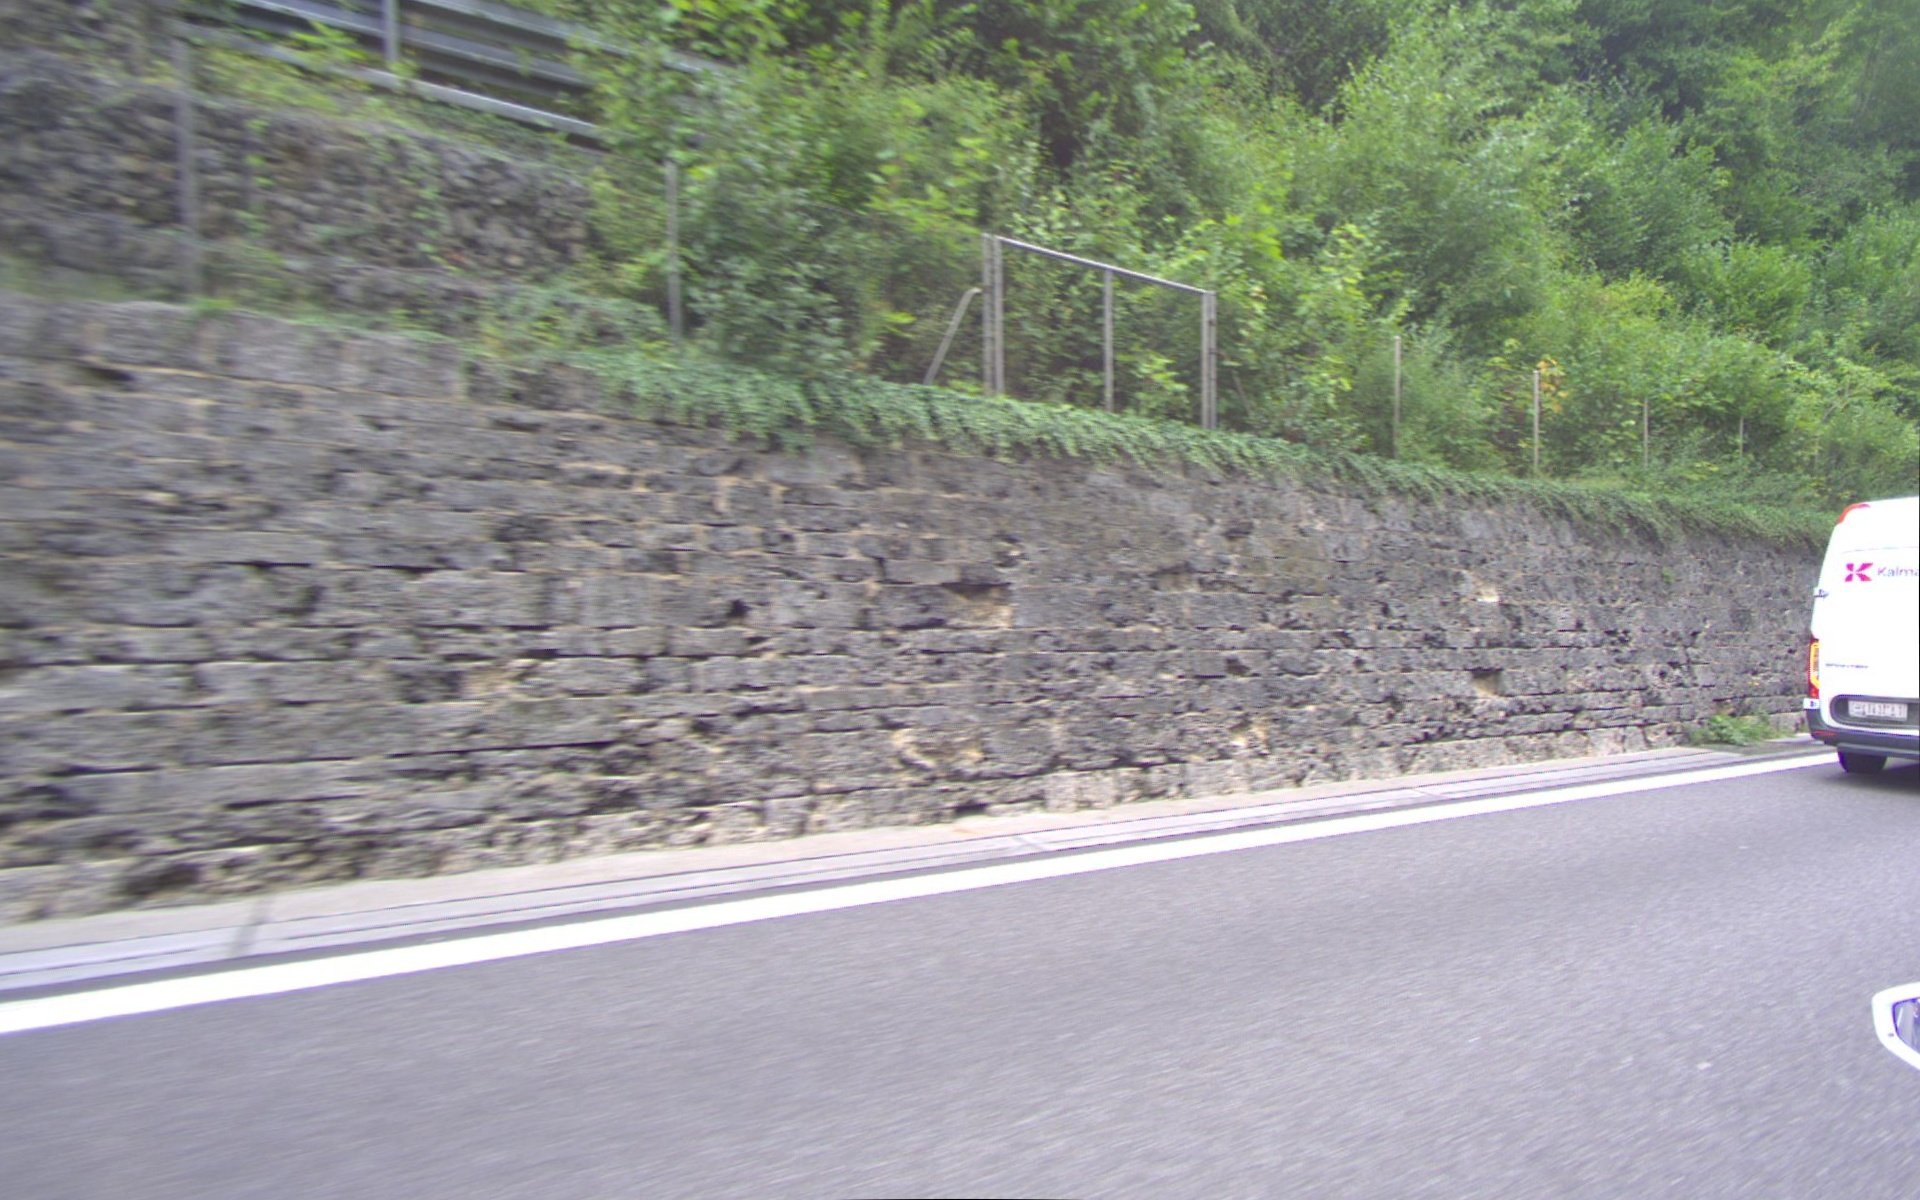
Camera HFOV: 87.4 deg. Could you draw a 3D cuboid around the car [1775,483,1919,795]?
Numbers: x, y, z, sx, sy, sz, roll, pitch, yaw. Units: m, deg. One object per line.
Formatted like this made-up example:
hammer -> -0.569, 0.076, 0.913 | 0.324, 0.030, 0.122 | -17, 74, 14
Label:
car -> 10.719, 0.410, 10.002 | 6.201, 2.619, 2.016 | 2, -1, -30
